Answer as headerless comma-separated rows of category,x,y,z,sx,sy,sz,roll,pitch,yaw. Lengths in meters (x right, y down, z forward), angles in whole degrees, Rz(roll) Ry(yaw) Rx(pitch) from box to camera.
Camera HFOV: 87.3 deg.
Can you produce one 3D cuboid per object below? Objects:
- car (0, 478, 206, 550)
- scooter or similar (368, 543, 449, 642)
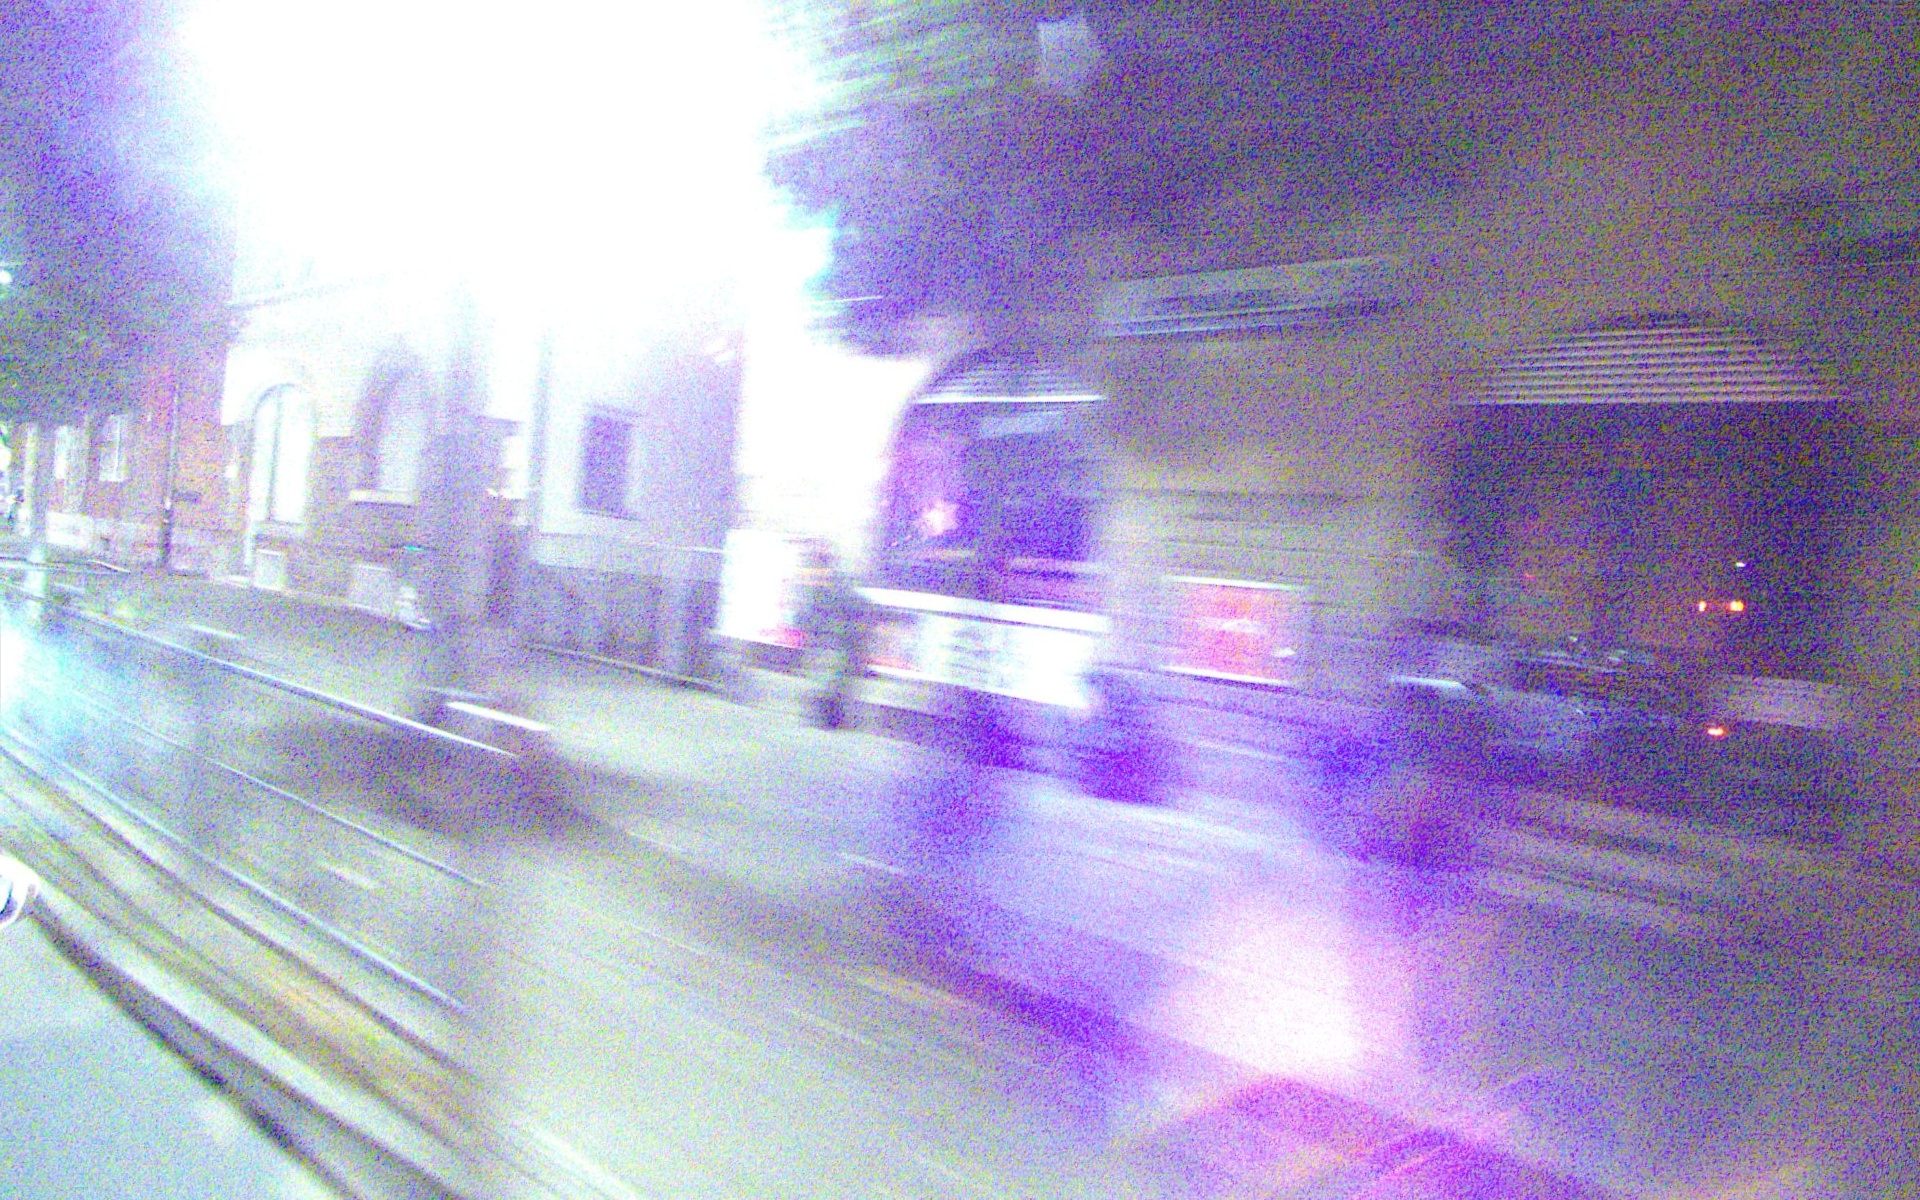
car,-24.869,-2.462,29.217,1.764,1.478,4.419,8,2,41
scooter or similar,-7.228,-0.116,13.156,1.473,1.145,0.420,7,2,44
